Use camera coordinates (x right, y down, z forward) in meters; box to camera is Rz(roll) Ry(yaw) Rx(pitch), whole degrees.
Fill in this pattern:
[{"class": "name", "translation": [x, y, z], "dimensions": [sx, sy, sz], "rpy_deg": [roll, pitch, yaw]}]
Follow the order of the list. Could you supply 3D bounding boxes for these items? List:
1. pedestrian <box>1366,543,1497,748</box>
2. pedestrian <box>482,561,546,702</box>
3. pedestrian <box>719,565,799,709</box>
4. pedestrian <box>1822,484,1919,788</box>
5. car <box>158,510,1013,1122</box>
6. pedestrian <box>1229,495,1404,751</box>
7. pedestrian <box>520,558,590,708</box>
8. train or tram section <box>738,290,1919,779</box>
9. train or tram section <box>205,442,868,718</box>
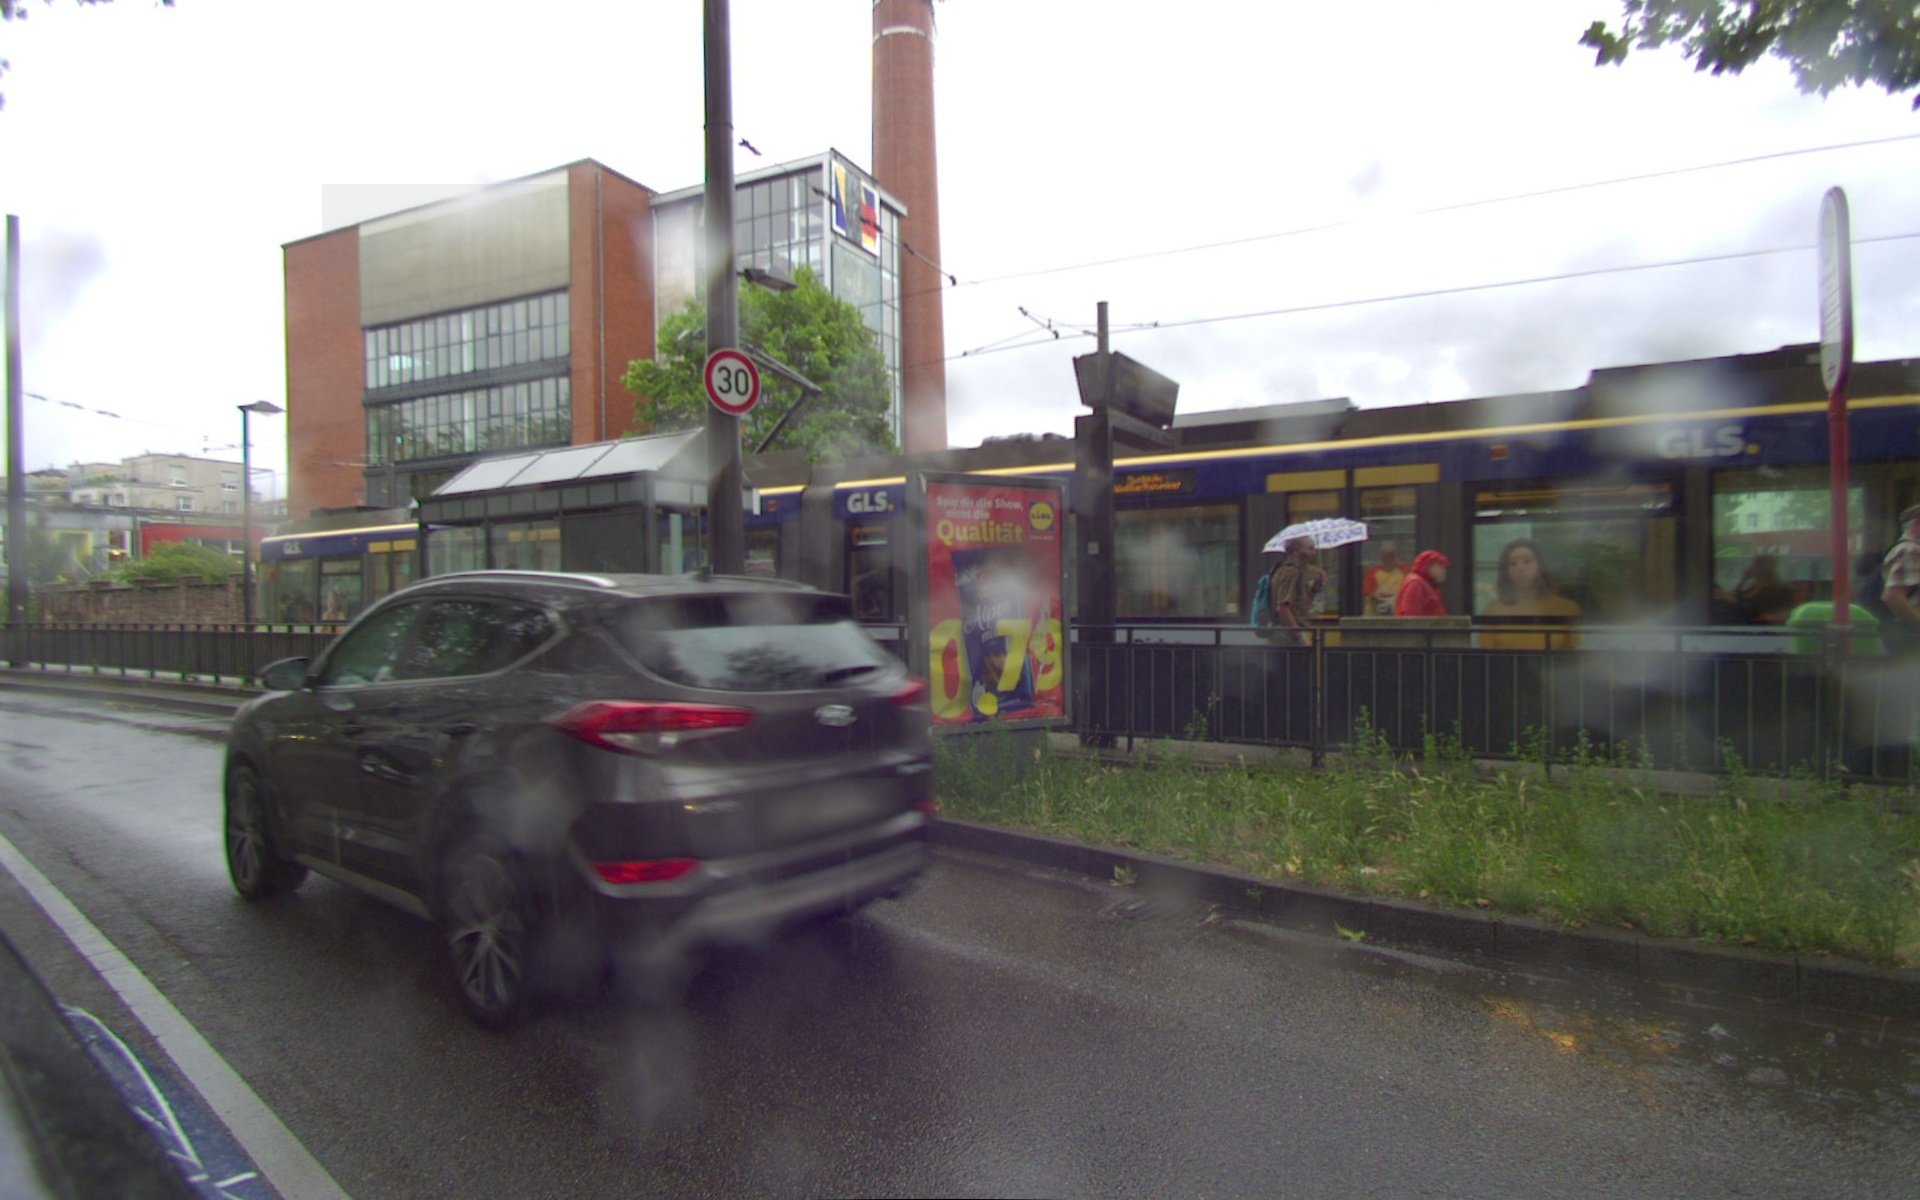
[{"class": "pedestrian", "translation": [3.842, 0.377, 8.312], "dimensions": [0.651, 1.584, 0.797], "rpy_deg": [-2, -3, 4]}, {"class": "pedestrian", "translation": [-5.735, 0.395, 13.013], "dimensions": [0.620, 1.762, 0.515], "rpy_deg": [-1, 0, -41]}, {"class": "pedestrian", "translation": [-2.324, 0.435, 11.737], "dimensions": [0.504, 1.610, 0.790], "rpy_deg": [-4, -4, 30]}, {"class": "pedestrian", "translation": [5.948, 0.203, 6.190], "dimensions": [0.827, 1.768, 0.859], "rpy_deg": [-1, 0, 29]}, {"class": "car", "translation": [-2.139, 0.637, 4.945], "dimensions": [4.597, 1.695, 1.786], "rpy_deg": [-2, 0, 38]}, {"class": "pedestrian", "translation": [2.816, 0.204, 7.970], "dimensions": [1.072, 1.840, 0.975], "rpy_deg": [-4, -4, 30]}, {"class": "pedestrian", "translation": [-4.917, 0.385, 12.284], "dimensions": [0.620, 1.762, 0.565], "rpy_deg": [-1, 0, -41]}, {"class": "train or tram section", "translation": [3.754, -0.409, 10.919], "dimensions": [13.660, 3.572, 2.840], "rpy_deg": [-1, 0, 30]}, {"class": "train or tram section", "translation": [-8.649, -0.151, 18.404], "dimensions": [15.323, 3.572, 2.838], "rpy_deg": [-1, 0, 32]}]
